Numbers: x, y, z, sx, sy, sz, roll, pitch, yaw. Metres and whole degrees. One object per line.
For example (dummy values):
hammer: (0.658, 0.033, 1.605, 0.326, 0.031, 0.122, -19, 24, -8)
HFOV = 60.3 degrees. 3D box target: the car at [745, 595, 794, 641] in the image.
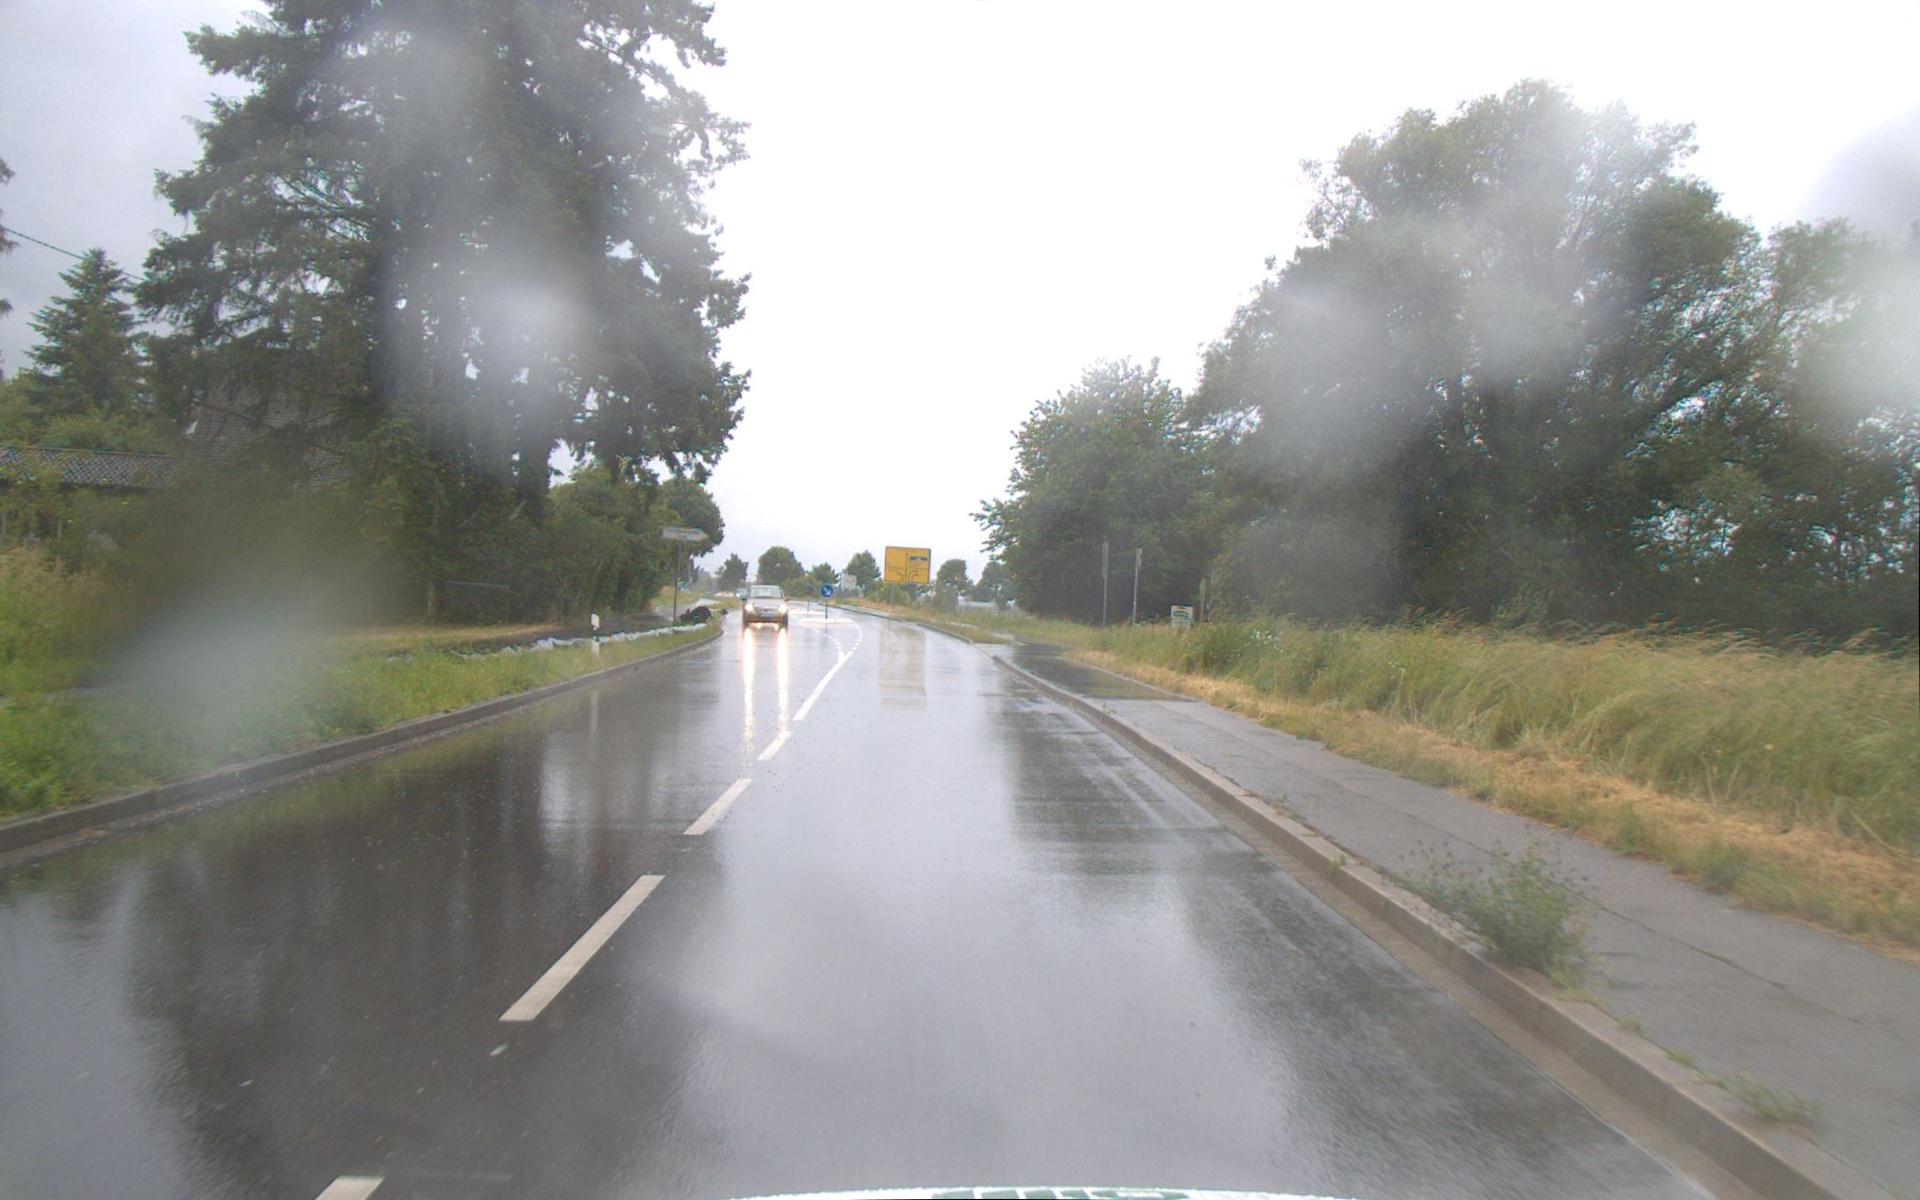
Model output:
car: (-7.618, 0.756, 65.894, 1.727, 1.580, 3.992, 4, -3, -8)
